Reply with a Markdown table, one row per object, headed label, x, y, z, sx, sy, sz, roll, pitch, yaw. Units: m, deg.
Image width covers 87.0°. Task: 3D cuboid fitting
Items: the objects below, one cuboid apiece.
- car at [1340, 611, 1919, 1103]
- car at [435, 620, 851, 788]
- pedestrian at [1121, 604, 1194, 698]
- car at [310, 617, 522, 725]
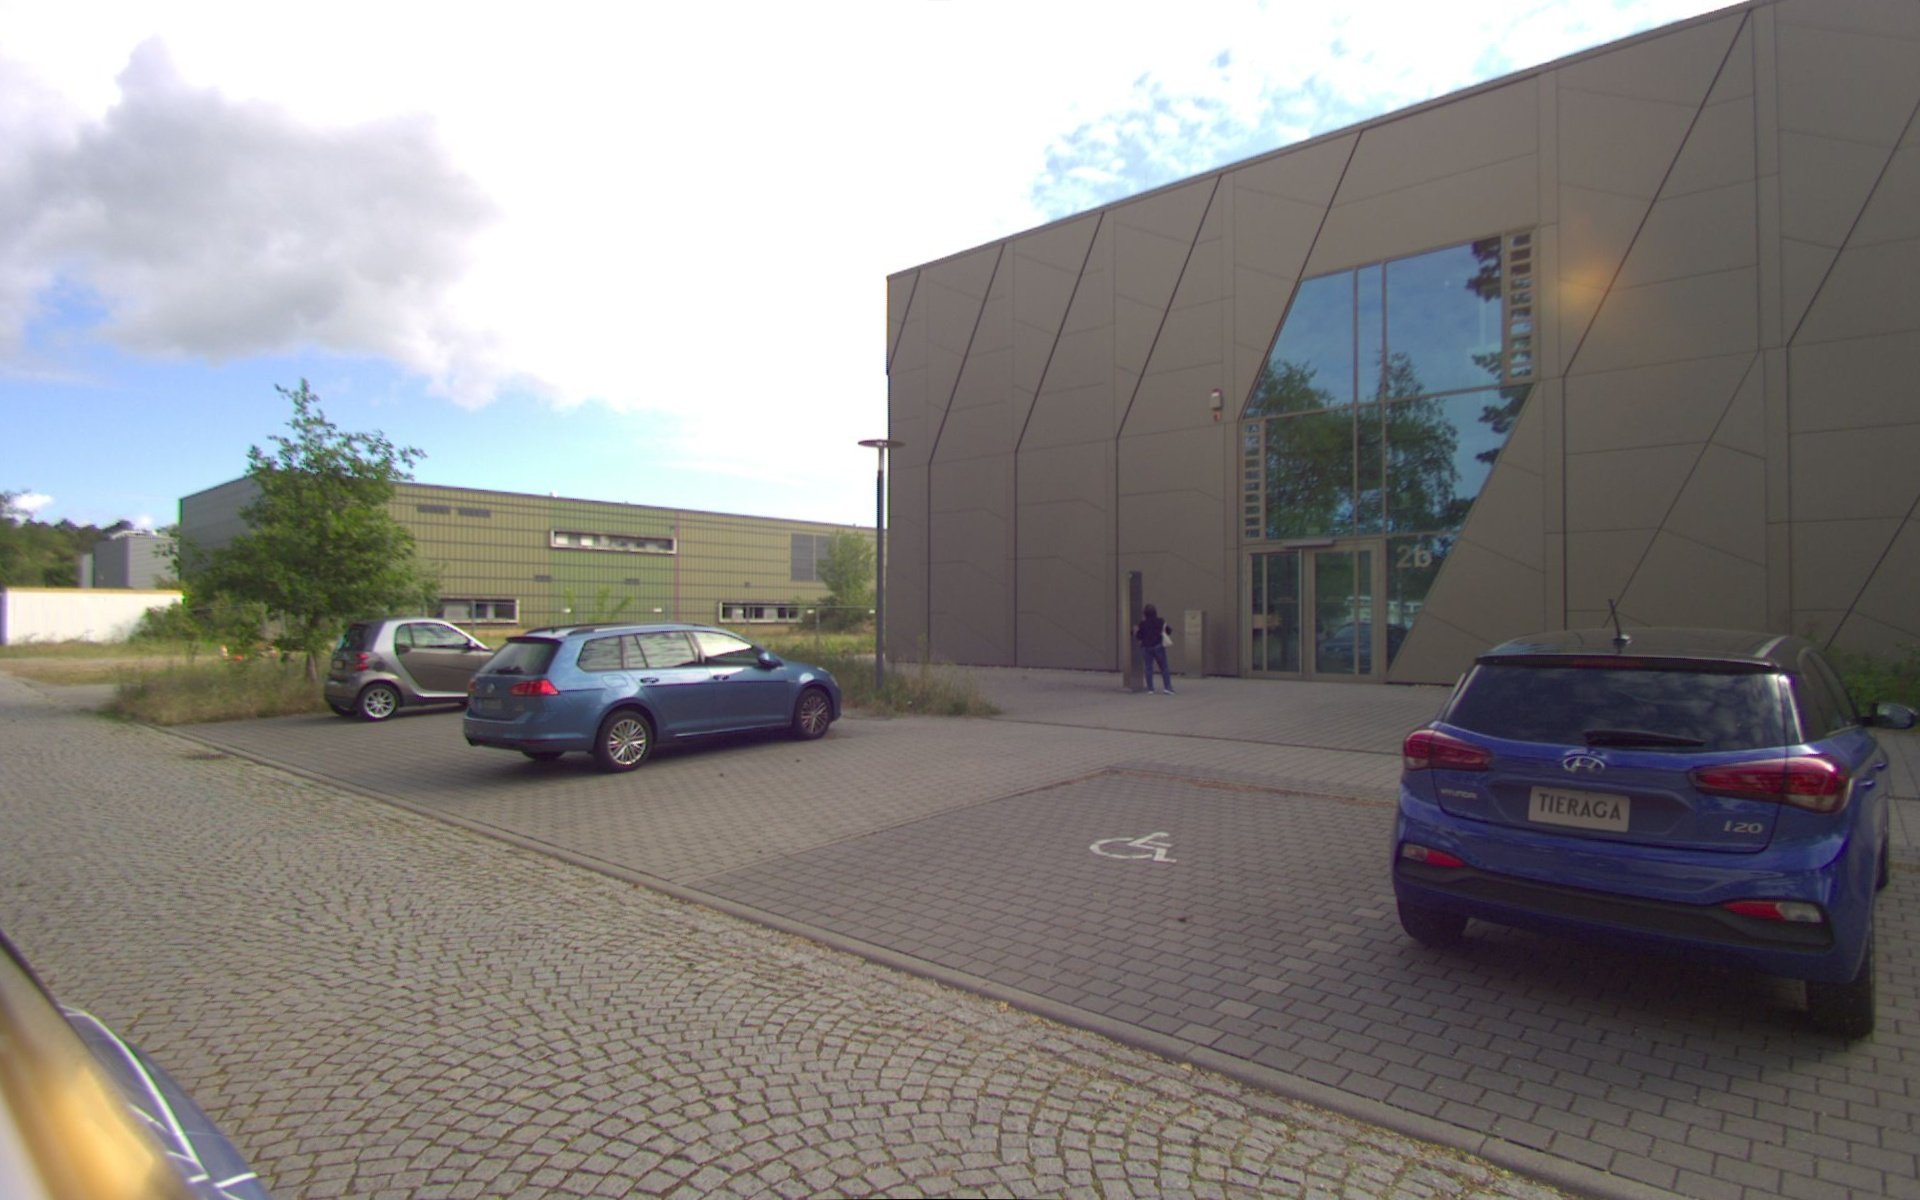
| label | x | y | z | sx | sy | sz | roll | pitch | yaw |
| --- | --- | --- | --- | --- | --- | --- | --- | --- | --- |
| car | 3.639 | 0.837 | 5.180 | 1.852 | 1.489 | 3.723 | -1 | -1 | 44 |
| car | -3.367 | 0.996 | 11.484 | 1.771 | 1.439 | 4.264 | -1 | 0 | 38 |
| pedestrian | 3.272 | 0.820 | 16.758 | 0.817 | 1.506 | 0.974 | -1 | -1 | 38 |
| car | -8.762 | 1.074 | 16.404 | 1.609 | 1.523 | 2.627 | -1 | -1 | 40 |
